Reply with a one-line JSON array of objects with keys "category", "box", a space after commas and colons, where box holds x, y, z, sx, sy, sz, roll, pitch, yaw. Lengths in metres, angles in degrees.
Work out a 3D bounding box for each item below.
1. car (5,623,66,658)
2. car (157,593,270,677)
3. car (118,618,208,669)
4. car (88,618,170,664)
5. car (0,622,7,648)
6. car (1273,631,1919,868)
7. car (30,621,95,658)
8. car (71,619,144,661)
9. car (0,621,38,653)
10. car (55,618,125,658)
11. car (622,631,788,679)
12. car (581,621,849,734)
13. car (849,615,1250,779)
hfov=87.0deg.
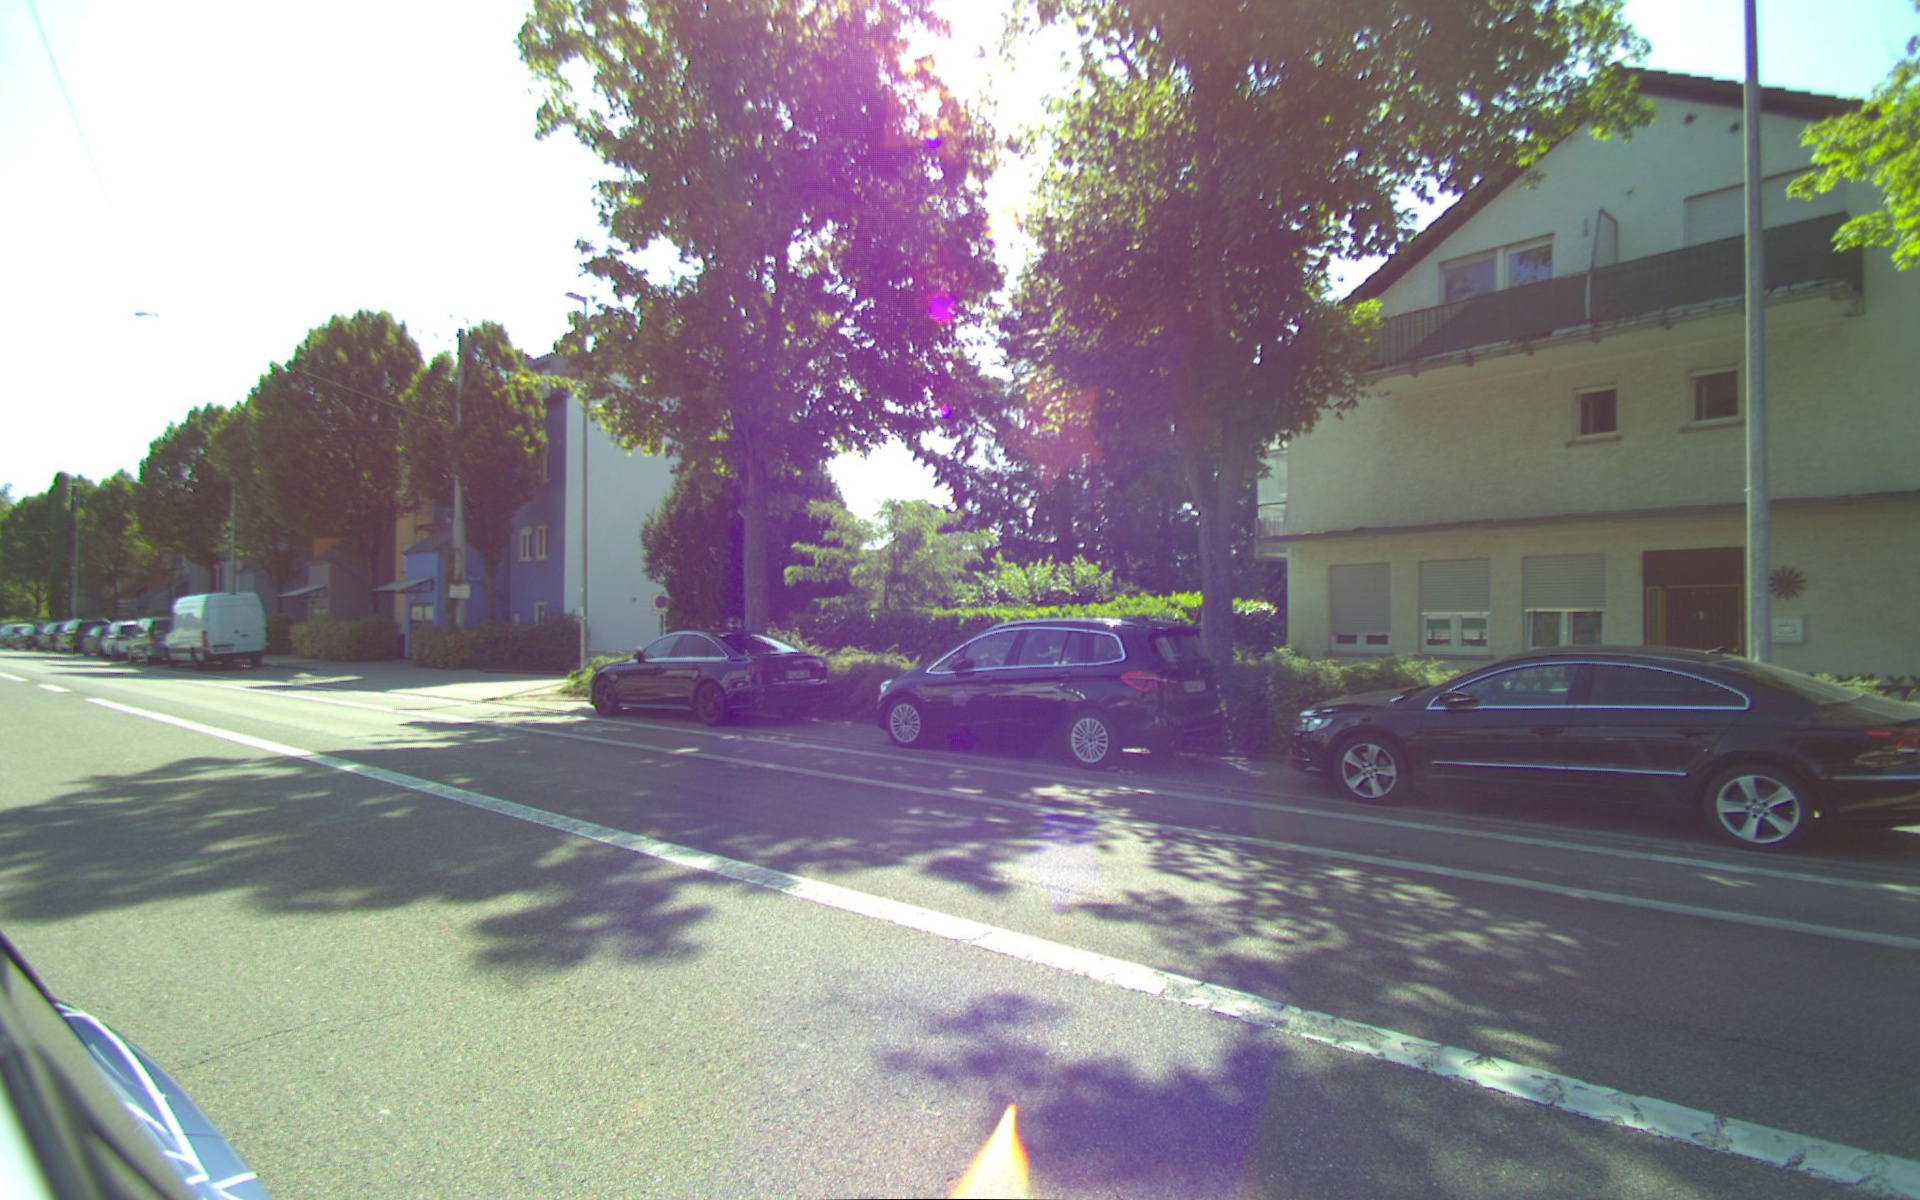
[{"category": "car", "box": [-54.913, 2.369, 60.102, 4.766, 1.818, 1.974, -2, 4, 41]}, {"category": "car", "box": [-27.361, 1.232, 36.977, 6.213, 2.713, 1.973, -2, 4, 43]}, {"category": "car", "box": [-33.512, 1.803, 42.522, 4.766, 1.818, 1.974, -2, 4, 41]}, {"category": "car", "box": [-38.063, 1.870, 46.322, 4.766, 1.818, 1.974, -2, 4, 41]}, {"category": "car", "box": [-68.763, 2.537, 71.142, 4.766, 1.818, 1.974, -2, 4, 41]}, {"category": "car", "box": [5.198, 1.010, 8.399, 4.619, 1.426, 1.844, -1, 0, 41]}, {"category": "car", "box": [-50.272, 2.189, 56.638, 4.766, 1.818, 1.974, -2, 4, 41]}, {"category": "car", "box": [-42.133, 1.944, 49.996, 4.254, 1.818, 1.974, -2, 4, 41]}, {"category": "car", "box": [-60.168, 2.345, 64.089, 4.766, 1.818, 1.974, -2, 4, 41]}, {"category": "car", "box": [-45.742, 1.986, 53.177, 4.766, 1.818, 1.974, -2, 4, 41]}, {"category": "car", "box": [-8.204, 1.740, 32.931, 1.891, 1.441, 5.001, -2, -3, 44]}, {"category": "car", "box": [-4.096, 1.153, 16.504, 4.616, 1.583, 1.845, -1, -2, 39]}, {"category": "car", "box": [0.925, 1.016, 12.246, 4.619, 1.583, 1.844, -1, 0, 41]}]
